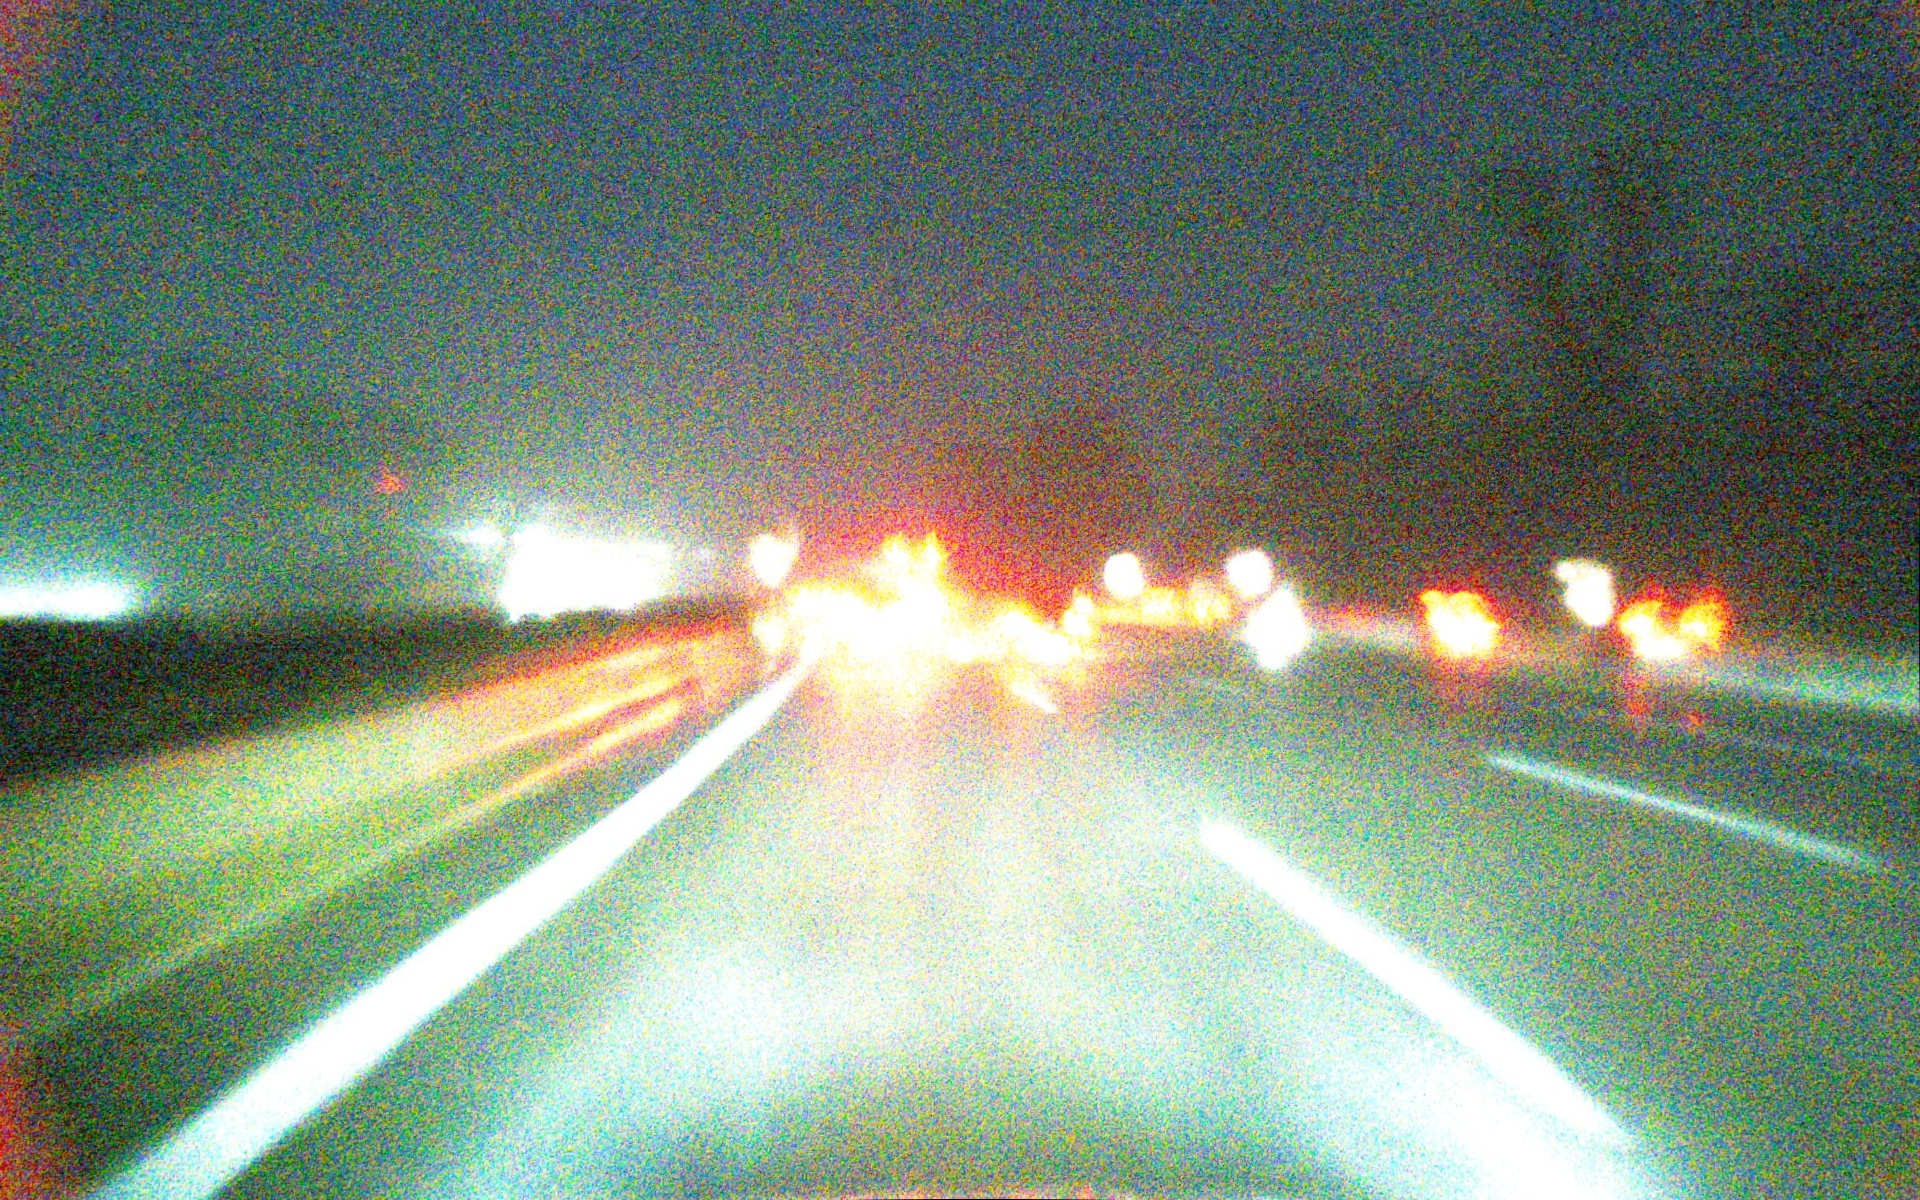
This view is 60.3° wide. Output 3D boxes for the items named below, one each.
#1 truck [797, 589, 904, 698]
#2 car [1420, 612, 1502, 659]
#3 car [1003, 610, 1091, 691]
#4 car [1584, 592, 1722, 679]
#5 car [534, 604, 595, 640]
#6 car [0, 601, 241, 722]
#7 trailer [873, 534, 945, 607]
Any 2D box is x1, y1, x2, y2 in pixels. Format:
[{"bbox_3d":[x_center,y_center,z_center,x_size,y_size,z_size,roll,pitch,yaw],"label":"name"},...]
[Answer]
[{"bbox_3d":[-2.435,0.885,37.564,2.102,2.113,6.600,3,0,-3],"label":"truck"},{"bbox_3d":[19.577,1.356,64.749,1.953,1.628,4.000,3,0,0],"label":"car"},{"bbox_3d":[1.898,1.087,37.085,1.763,1.645,4.257,-1,0,0],"label":"car"},{"bbox_3d":[17.979,0.880,43.120,2.185,2.048,4.003,2,1,6],"label":"car"},{"bbox_3d":[-18.081,0.985,75.716,2.082,1.553,3.996,1,0,-4],"label":"car"},{"bbox_3d":[-14.120,0.970,28.075,1.953,1.765,4.000,3,0,0],"label":"car"},{"bbox_3d":[-3.676,-2.183,114.141,2.691,4.320,13.340,-3,4,-11],"label":"trailer"}]
